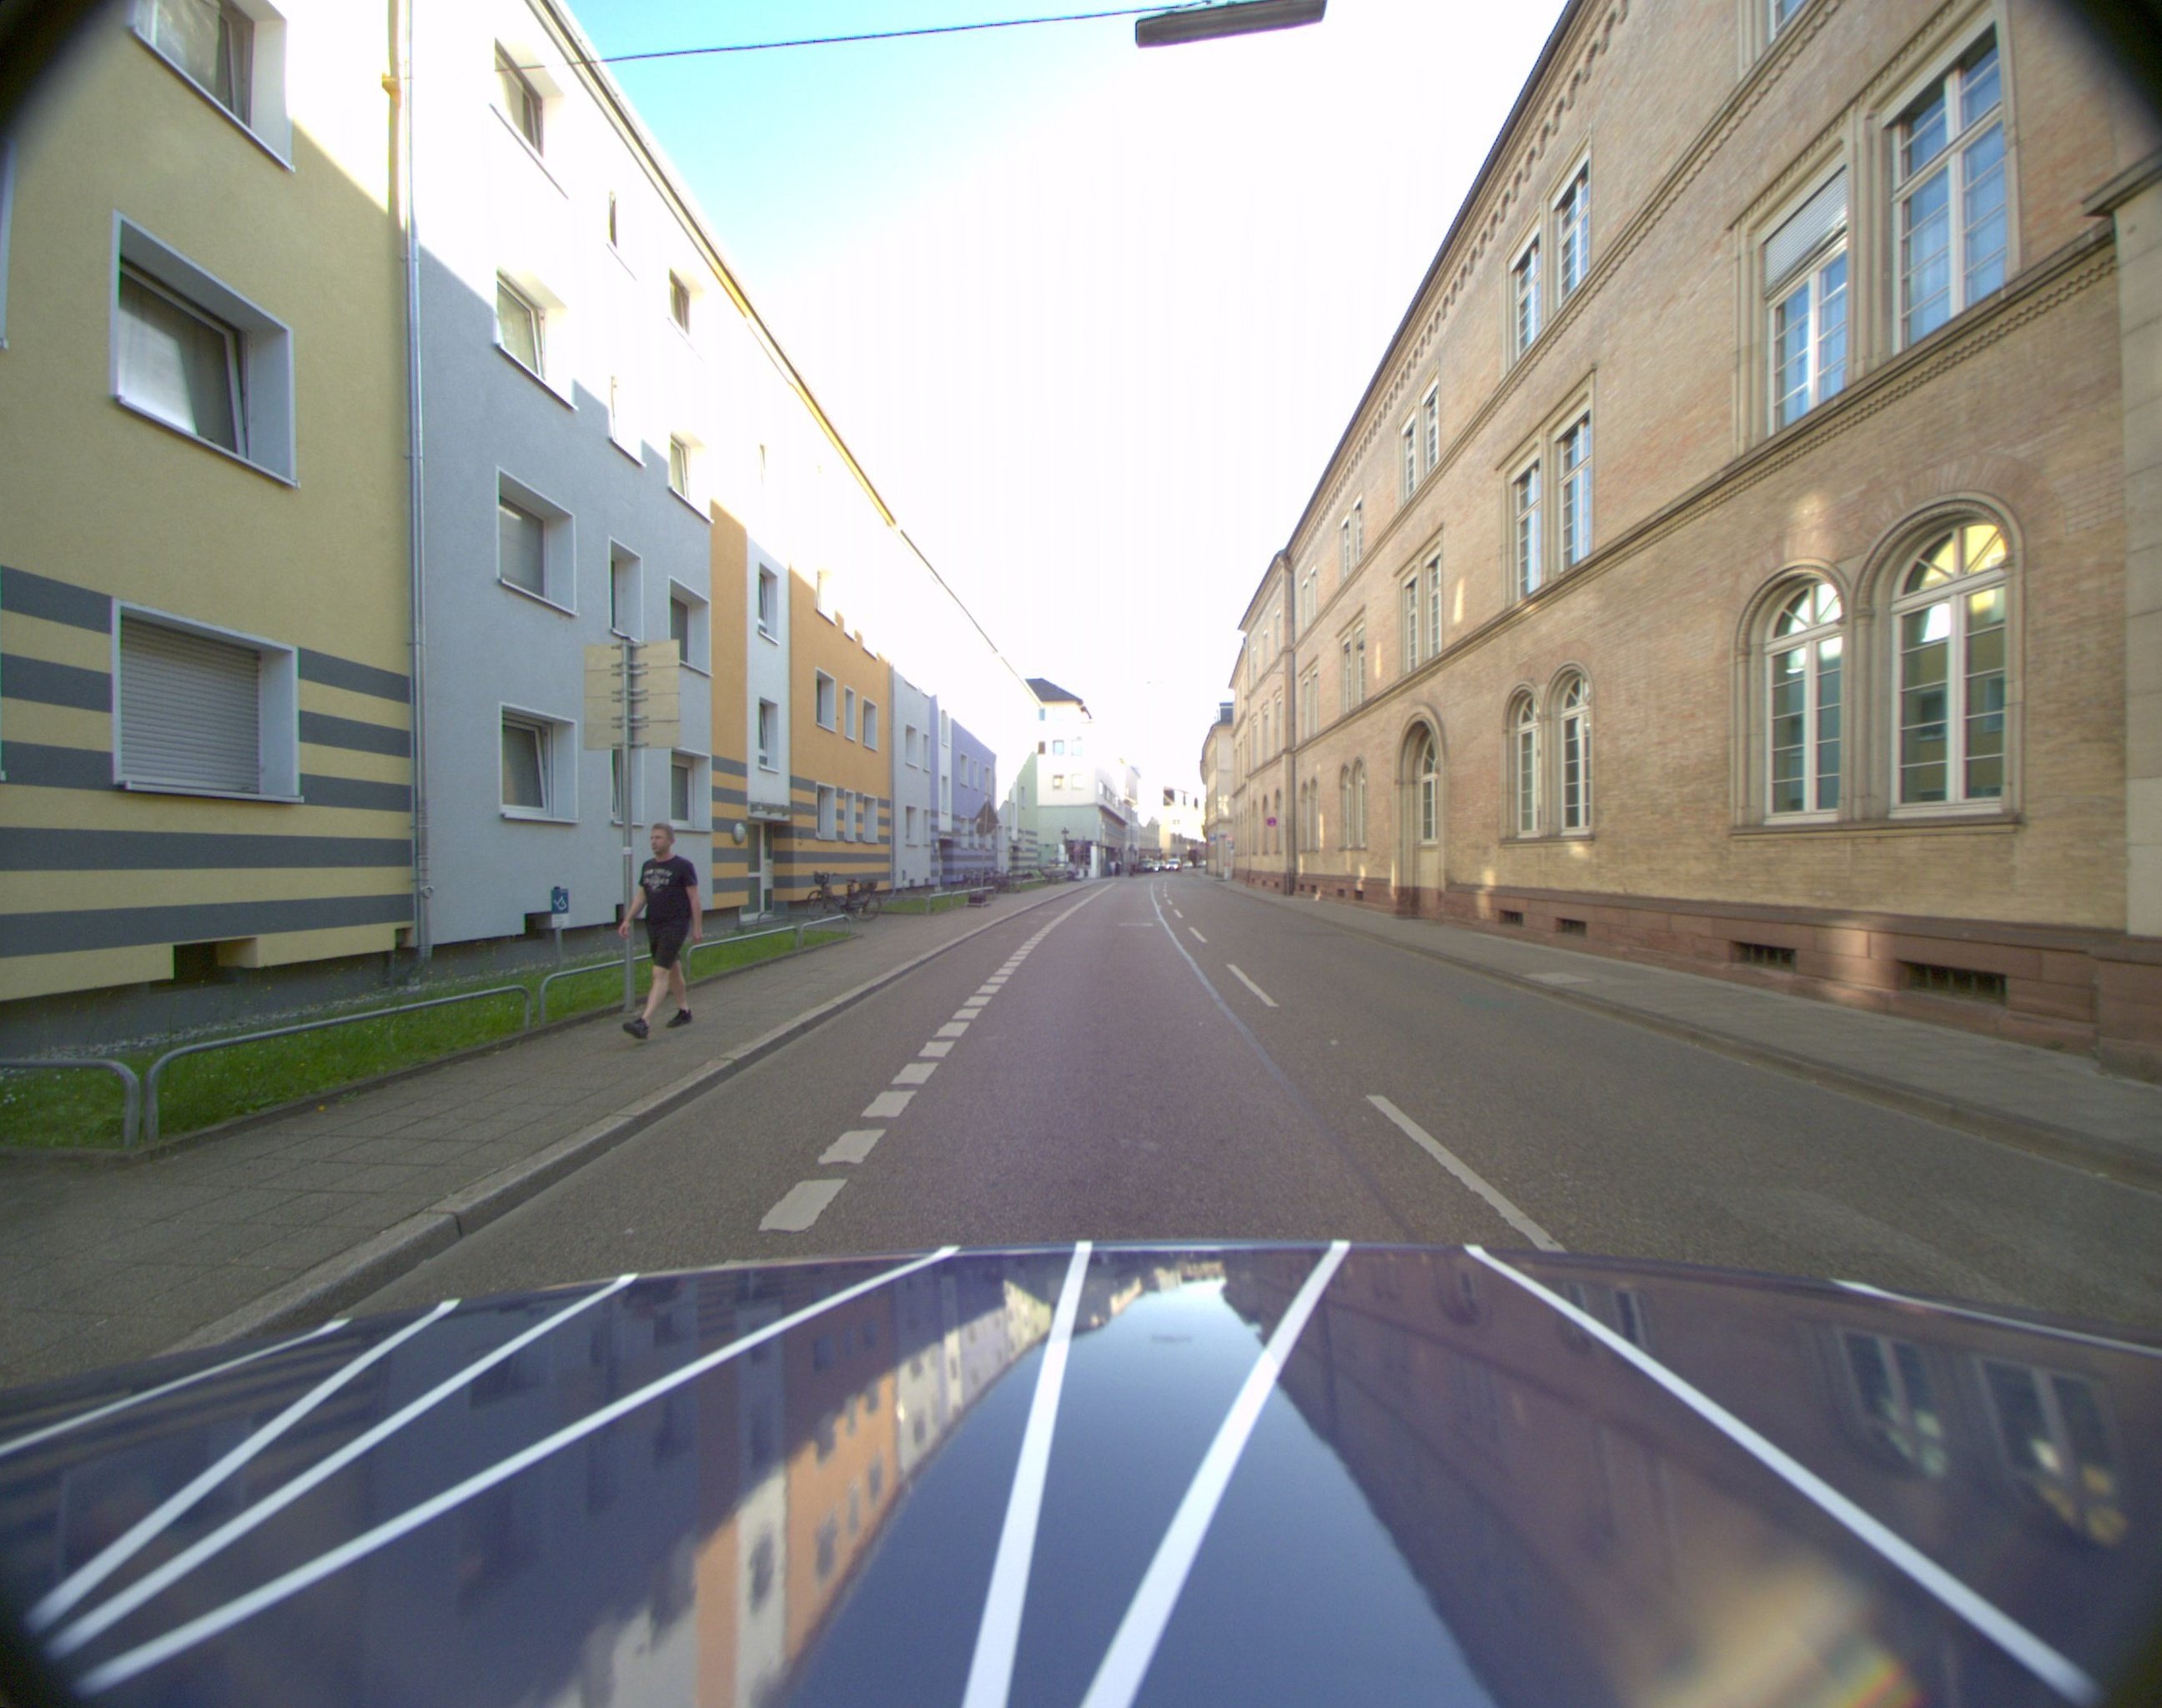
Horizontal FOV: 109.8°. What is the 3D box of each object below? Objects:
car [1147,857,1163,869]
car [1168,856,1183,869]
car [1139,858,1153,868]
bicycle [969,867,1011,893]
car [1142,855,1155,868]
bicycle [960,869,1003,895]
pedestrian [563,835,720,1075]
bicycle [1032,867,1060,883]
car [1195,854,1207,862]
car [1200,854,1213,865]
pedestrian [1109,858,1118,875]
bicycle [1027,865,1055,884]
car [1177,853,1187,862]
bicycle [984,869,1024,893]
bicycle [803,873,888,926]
[{"bbox_3d":[10.984,1.371,112.692,1.860,1.714,3.743,0,0,13],"label":"car"},{"bbox_3d":[13.322,1.199,107.269,1.921,1.712,4.964,0,0,10],"label":"car"},{"bbox_3d":[8.637,1.182,100.777,1.634,1.405,3.687,0,0,8],"label":"car"},{"bbox_3d":[-3.952,1.121,33.006,1.710,1.075,0.636,1,0,1],"label":"bicycle"},{"bbox_3d":[9.463,1.013,106.052,1.535,1.714,3.741,0,0,8],"label":"car"},{"bbox_3d":[-4.153,1.158,31.863,1.710,1.039,0.636,1,0,2],"label":"bicycle"},{"bbox_3d":[-3.537,0.761,6.192,0.646,1.778,0.916,3,1,4],"label":"pedestrian"},{"bbox_3d":[-2.174,1.291,47.585,1.711,0.972,0.516,1,0,-2],"label":"bicycle"},{"bbox_3d":[25.832,0.921,163.667,1.925,1.714,4.236,0,0,19],"label":"car"},{"bbox_3d":[19.910,0.890,120.413,1.662,1.714,3.743,0,0,14],"label":"car"},{"bbox_3d":[2.890,1.126,67.936,0.707,1.510,0.662,-1,0,13],"label":"pedestrian"},{"bbox_3d":[-2.422,1.234,46.125,1.711,1.097,0.585,1,0,-2],"label":"bicycle"},{"bbox_3d":[19.918,0.722,149.639,1.534,1.714,3.743,0,0,16],"label":"car"},{"bbox_3d":[-3.392,1.186,33.767,1.711,1.029,0.636,1,0,-2],"label":"bicycle"},{"bbox_3d":[-5.292,1.017,17.110,1.711,1.152,0.636,1,0,-2],"label":"bicycle"}]
